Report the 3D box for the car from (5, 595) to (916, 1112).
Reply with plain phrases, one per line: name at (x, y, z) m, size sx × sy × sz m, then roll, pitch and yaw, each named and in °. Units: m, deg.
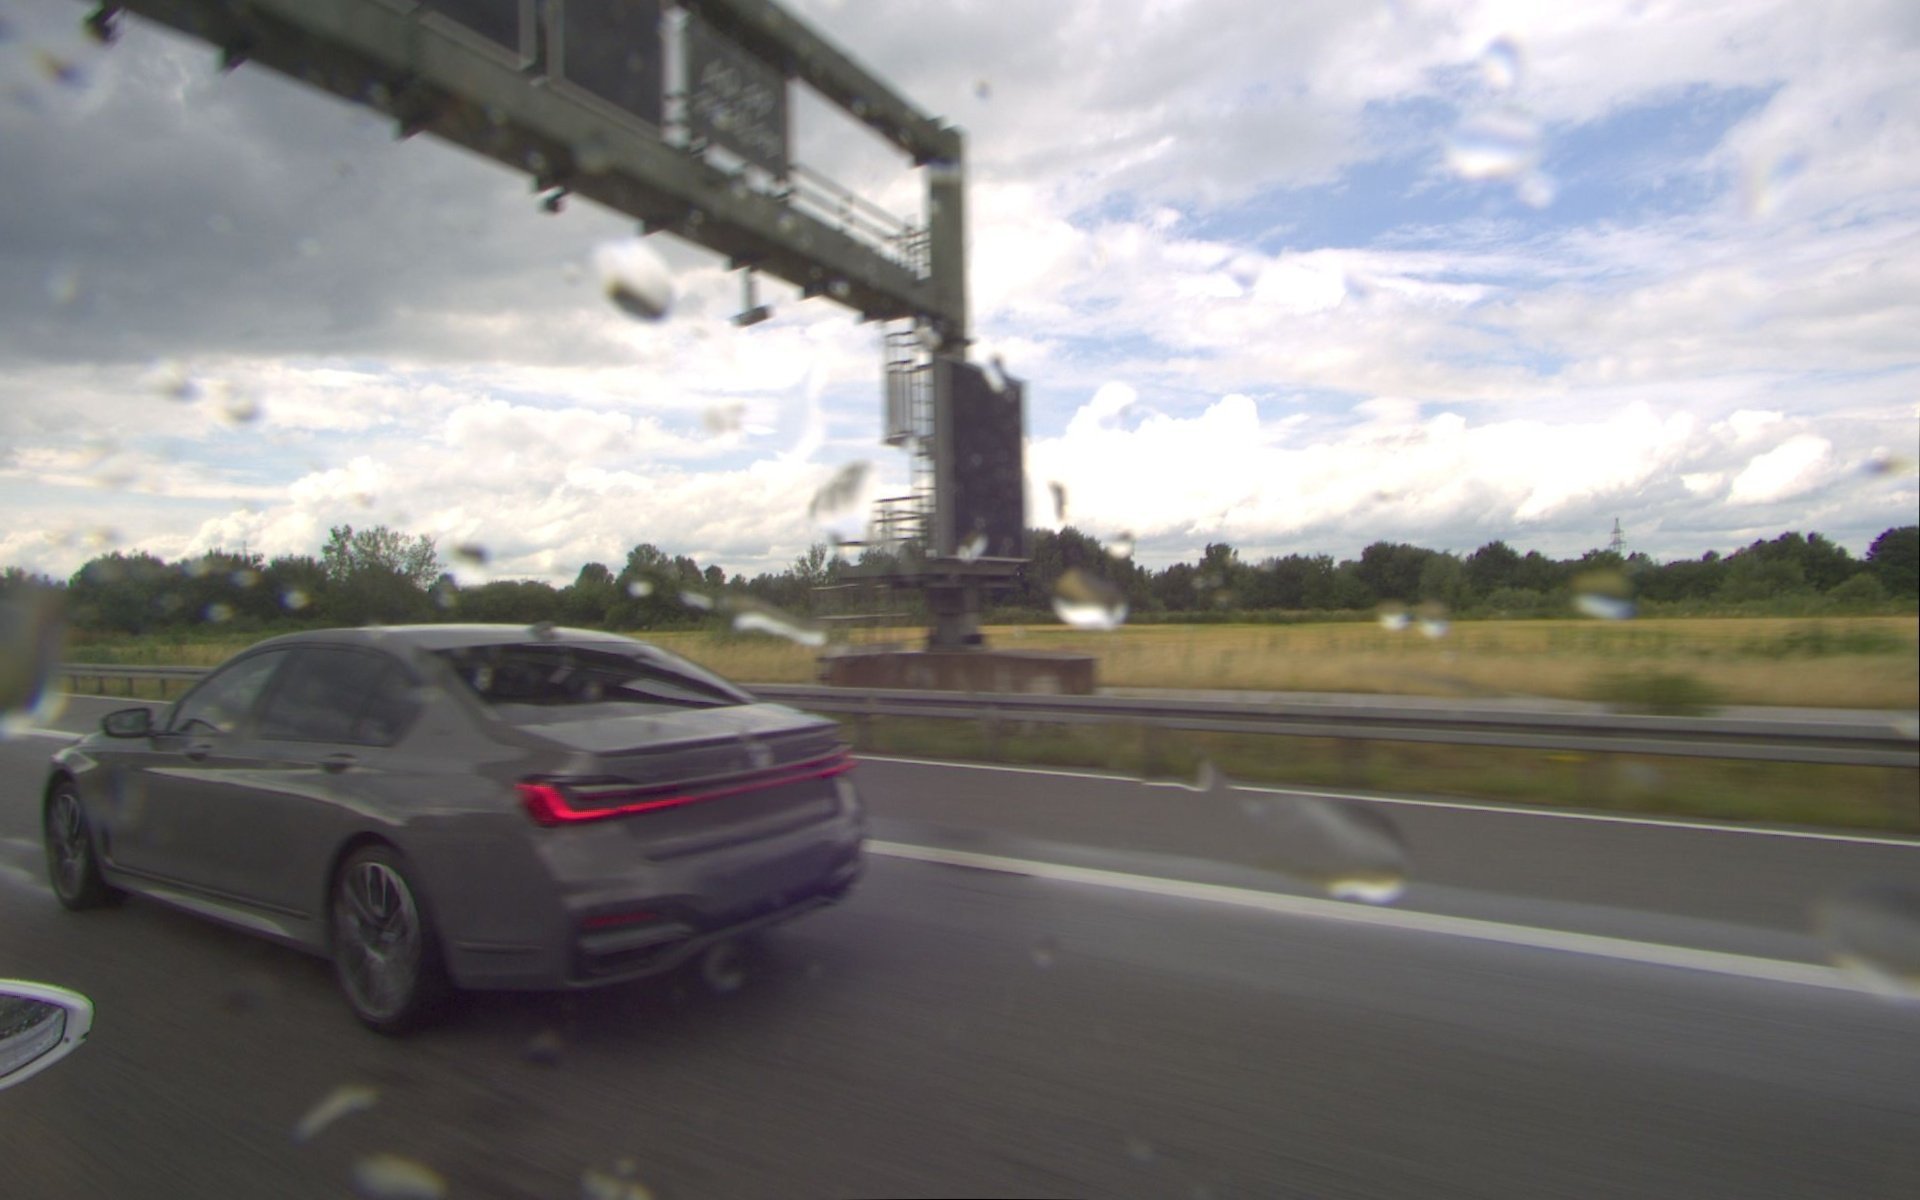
car at (-2.699, 0.806, 5.014) m, size 4.707 × 1.510 × 1.936 m, roll -1°, pitch -1°, yaw 32°
